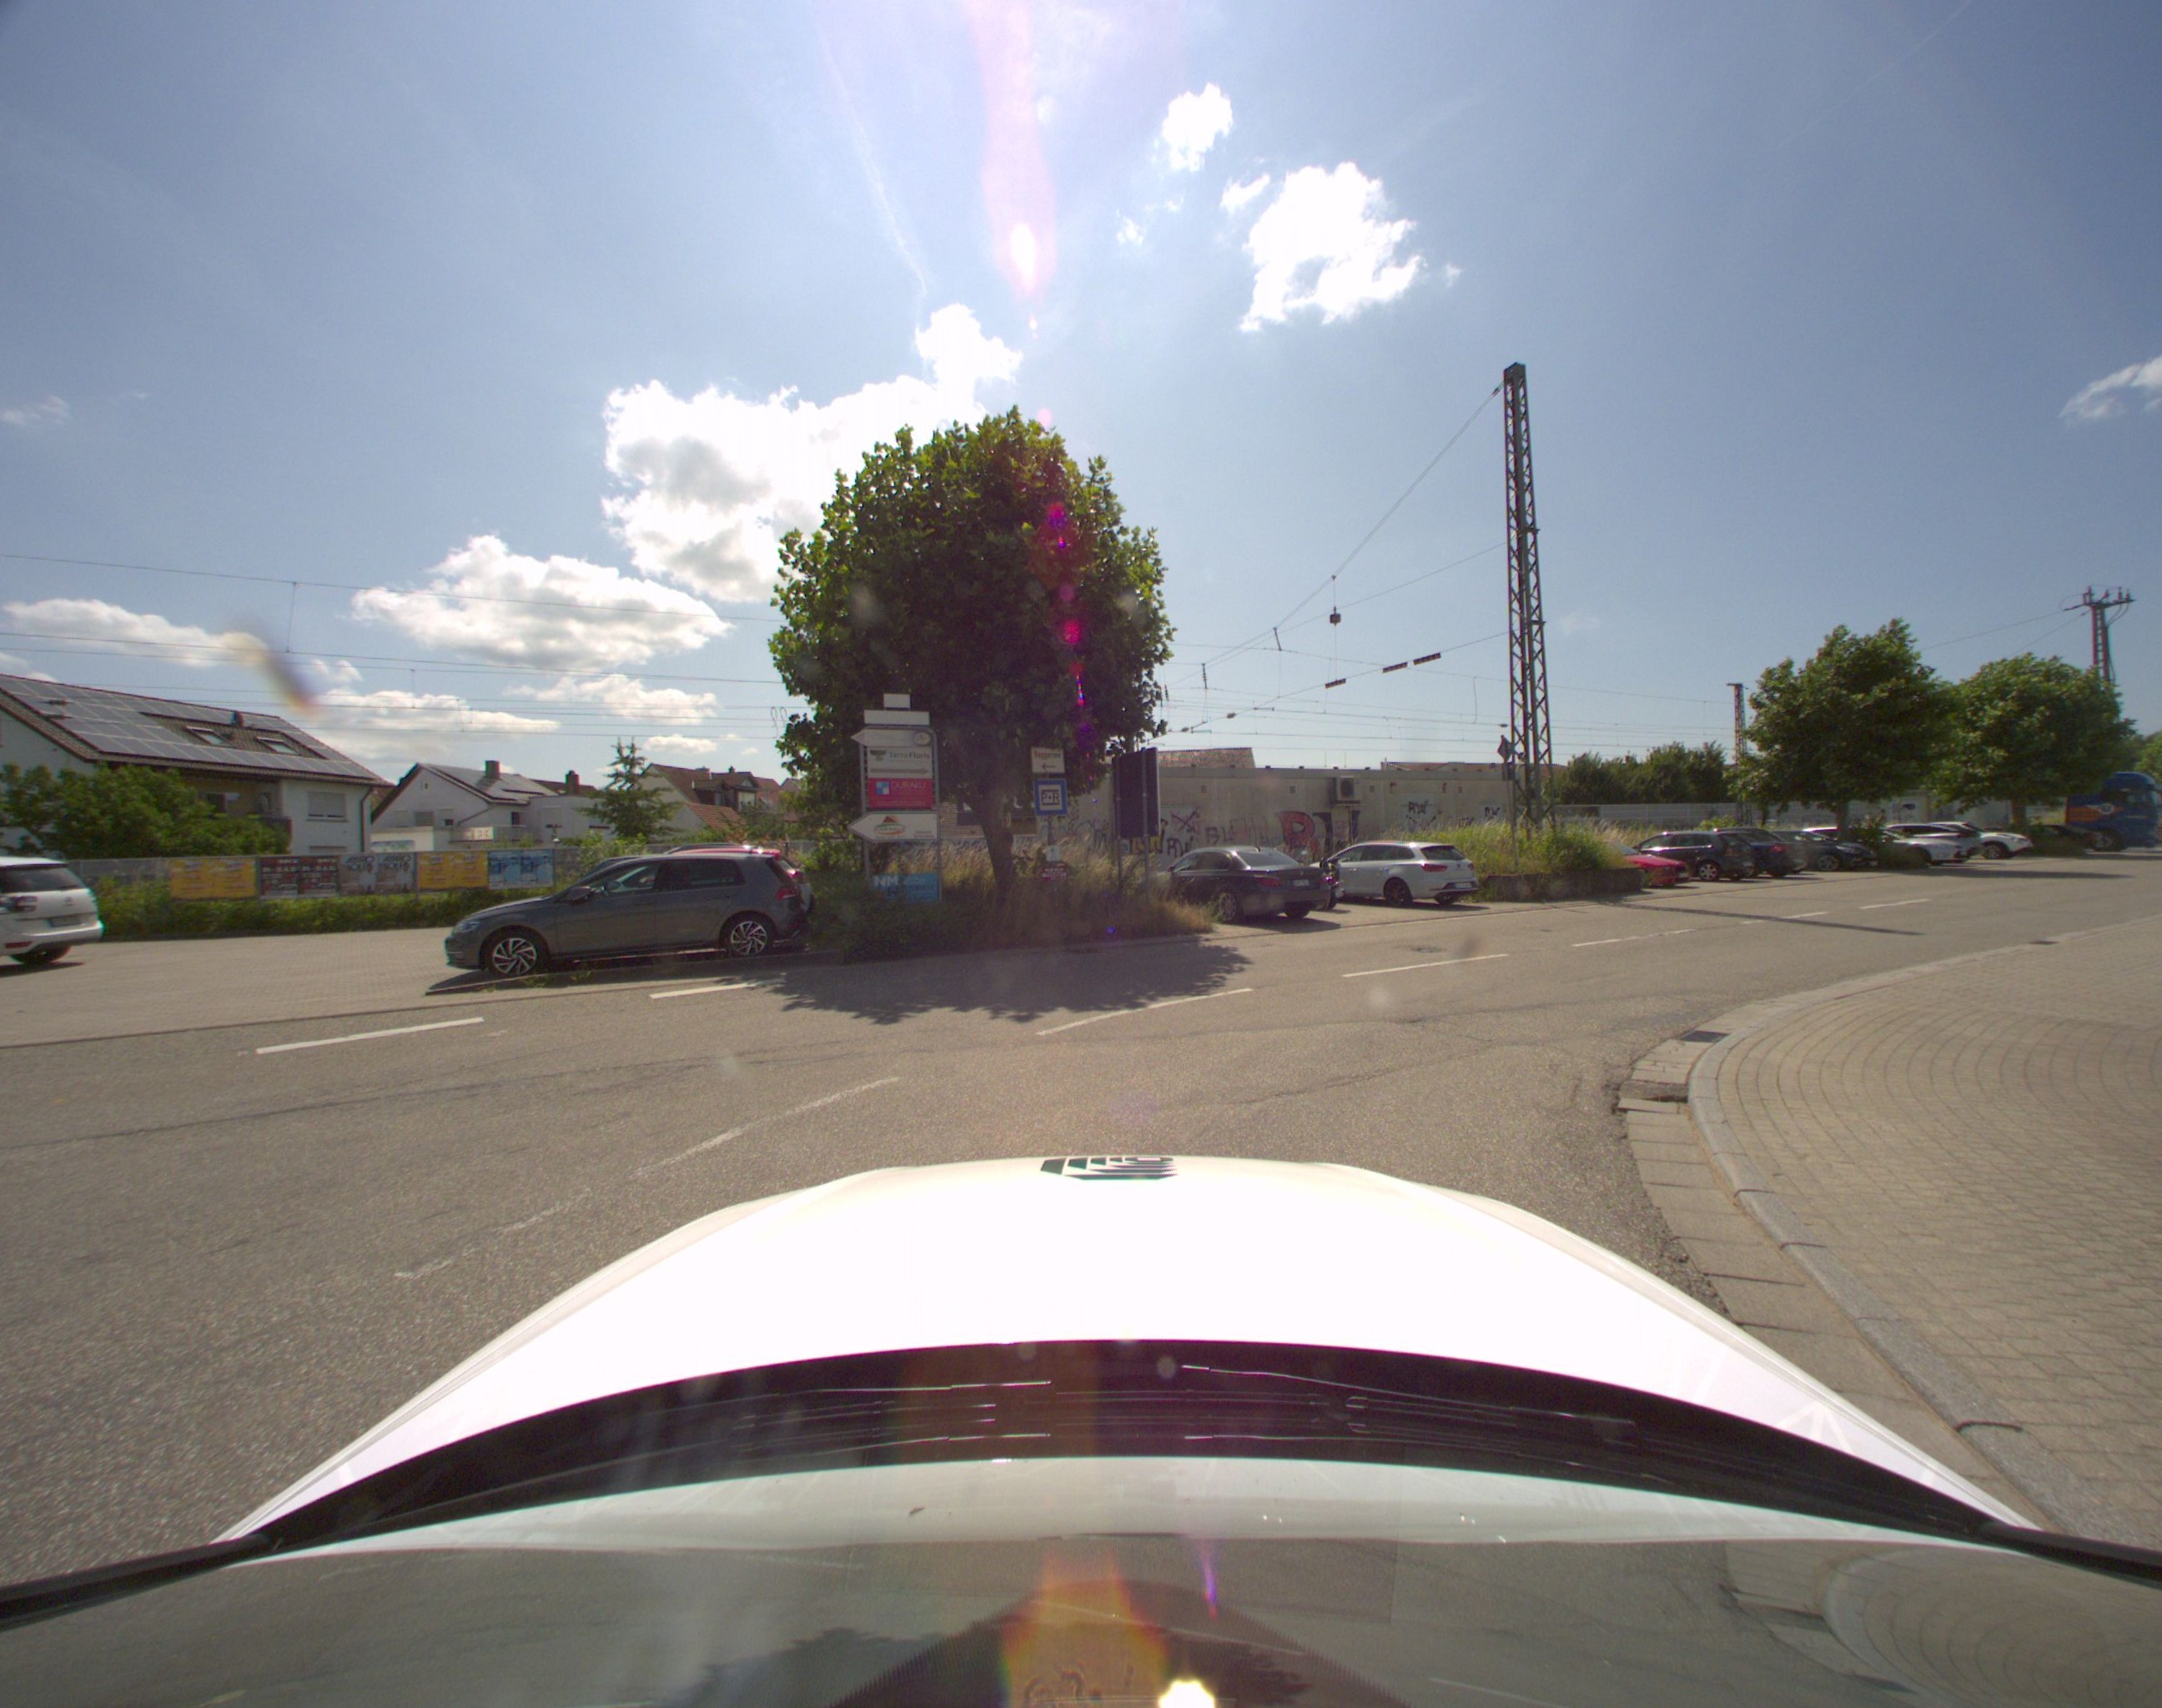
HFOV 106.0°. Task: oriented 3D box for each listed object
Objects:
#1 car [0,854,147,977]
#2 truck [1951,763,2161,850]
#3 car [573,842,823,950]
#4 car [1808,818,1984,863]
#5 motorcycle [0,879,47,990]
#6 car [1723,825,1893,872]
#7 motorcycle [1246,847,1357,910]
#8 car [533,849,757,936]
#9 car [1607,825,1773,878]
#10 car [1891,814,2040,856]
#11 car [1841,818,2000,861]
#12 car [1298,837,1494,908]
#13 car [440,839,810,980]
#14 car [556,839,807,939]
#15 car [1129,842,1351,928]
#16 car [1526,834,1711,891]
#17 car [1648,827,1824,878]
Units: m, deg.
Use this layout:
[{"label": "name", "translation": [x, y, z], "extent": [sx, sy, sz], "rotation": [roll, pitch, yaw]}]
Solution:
[{"label": "car", "translation": [-16.681, 0.919, 11.383], "extent": [4.263, 1.657, 1.986], "rotation": [-2, 0, -20]}, {"label": "truck", "translation": [48.433, -2.212, 40.475], "extent": [2.670, 3.823, 6.576], "rotation": [-2, 0, -27]}, {"label": "car", "translation": [-6.292, 0.638, 13.810], "extent": [3.579, 1.537, 1.785], "rotation": [-2, 0, -20]}, {"label": "car", "translation": [30.481, -0.492, 30.615], "extent": [1.930, 1.532, 4.315], "rotation": [-2, 1, -26]}, {"label": "motorcycle", "translation": [-15.085, 1.062, 9.848], "extent": [3.216, 1.373, 0.734], "rotation": [-2, 0, -22]}, {"label": "car", "translation": [25.180, -0.167, 28.374], "extent": [1.790, 1.472, 4.052], "rotation": [-2, 0, -25]}, {"label": "motorcycle", "translation": [4.820, 0.516, 18.068], "extent": [0.719, 1.281, 2.709], "rotation": [-2, 0, -27]}, {"label": "car", "translation": [-9.471, 0.780, 18.117], "extent": [4.087, 1.637, 1.986], "rotation": [-2, 0, -21]}, {"label": "car", "translation": [18.183, -0.111, 24.473], "extent": [1.688, 1.447, 3.645], "rotation": [-2, 2, -27]}, {"label": "car", "translation": [37.404, -0.762, 34.541], "extent": [1.856, 1.618, 3.946], "rotation": [-2, 1, -29]}, {"label": "car", "translation": [32.808, -0.562, 31.953], "extent": [2.005, 1.547, 3.964], "rotation": [-2, 1, -28]}, {"label": "car", "translation": [7.100, 0.345, 18.783], "extent": [1.791, 1.401, 4.049], "rotation": [-2, 1, -28]}, {"label": "car", "translation": [-5.836, 0.647, 11.007], "extent": [4.063, 1.530, 1.679], "rotation": [-2, 0, -20]}, {"label": "car", "translation": [-7.518, 0.609, 15.820], "extent": [4.087, 1.637, 1.987], "rotation": [-2, 0, -20]}, {"label": "car", "translation": [2.951, 0.560, 16.128], "extent": [1.794, 1.410, 4.396], "rotation": [-2, 0, -31]}, {"label": "car", "translation": [15.015, 0.195, 22.990], "extent": [1.677, 1.368, 4.052], "rotation": [-3, 2, -25]}, {"label": "car", "translation": [20.335, -0.043, 25.481], "extent": [1.788, 1.450, 3.930], "rotation": [-2, 0, -21]}]
